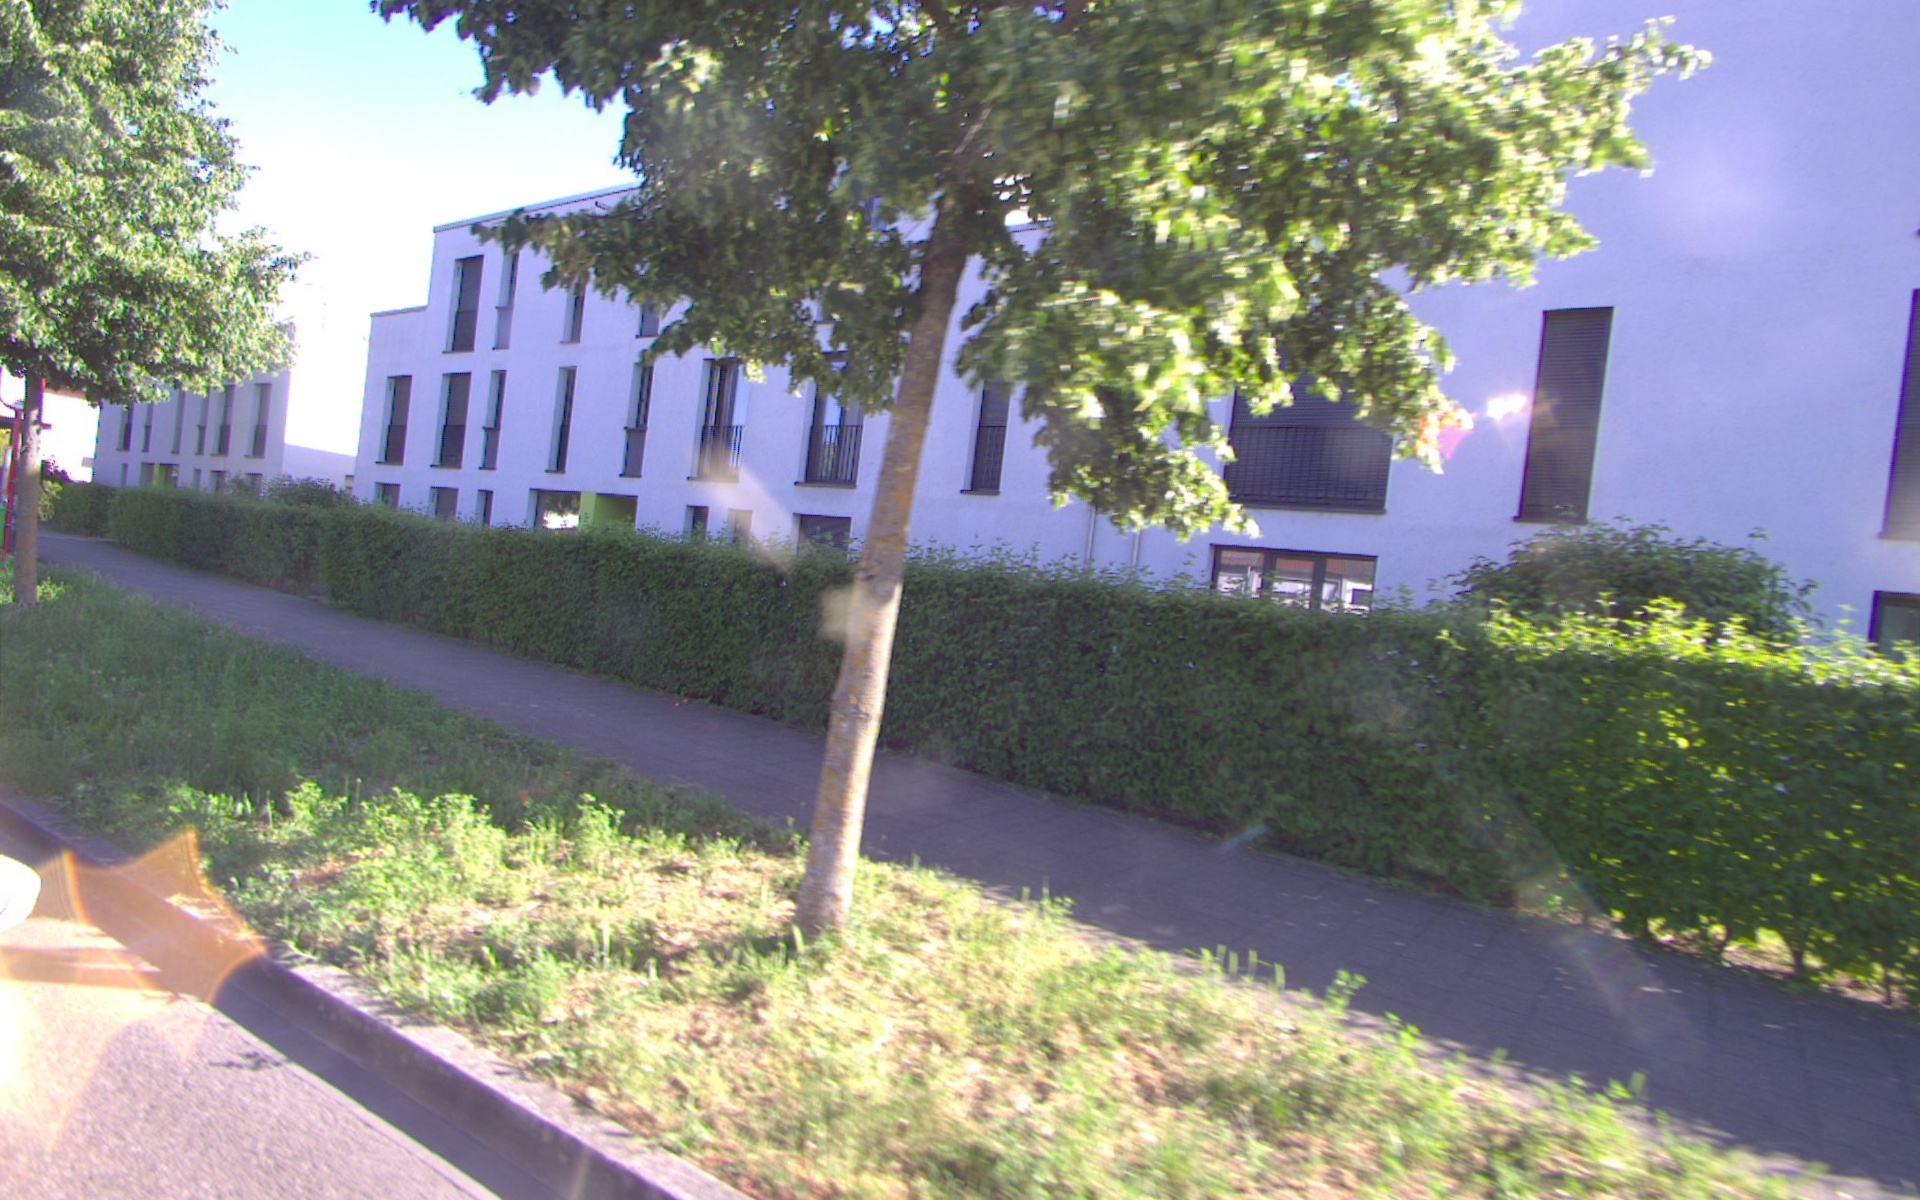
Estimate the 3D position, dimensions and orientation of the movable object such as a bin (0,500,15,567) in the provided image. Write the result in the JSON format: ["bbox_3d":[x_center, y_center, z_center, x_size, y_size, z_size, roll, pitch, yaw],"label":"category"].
[{"bbox_3d":[-15.311,-1.072,15.857,0.589,1.029,0.369,8,1,27],"label":"movable object such as a bin"}]
